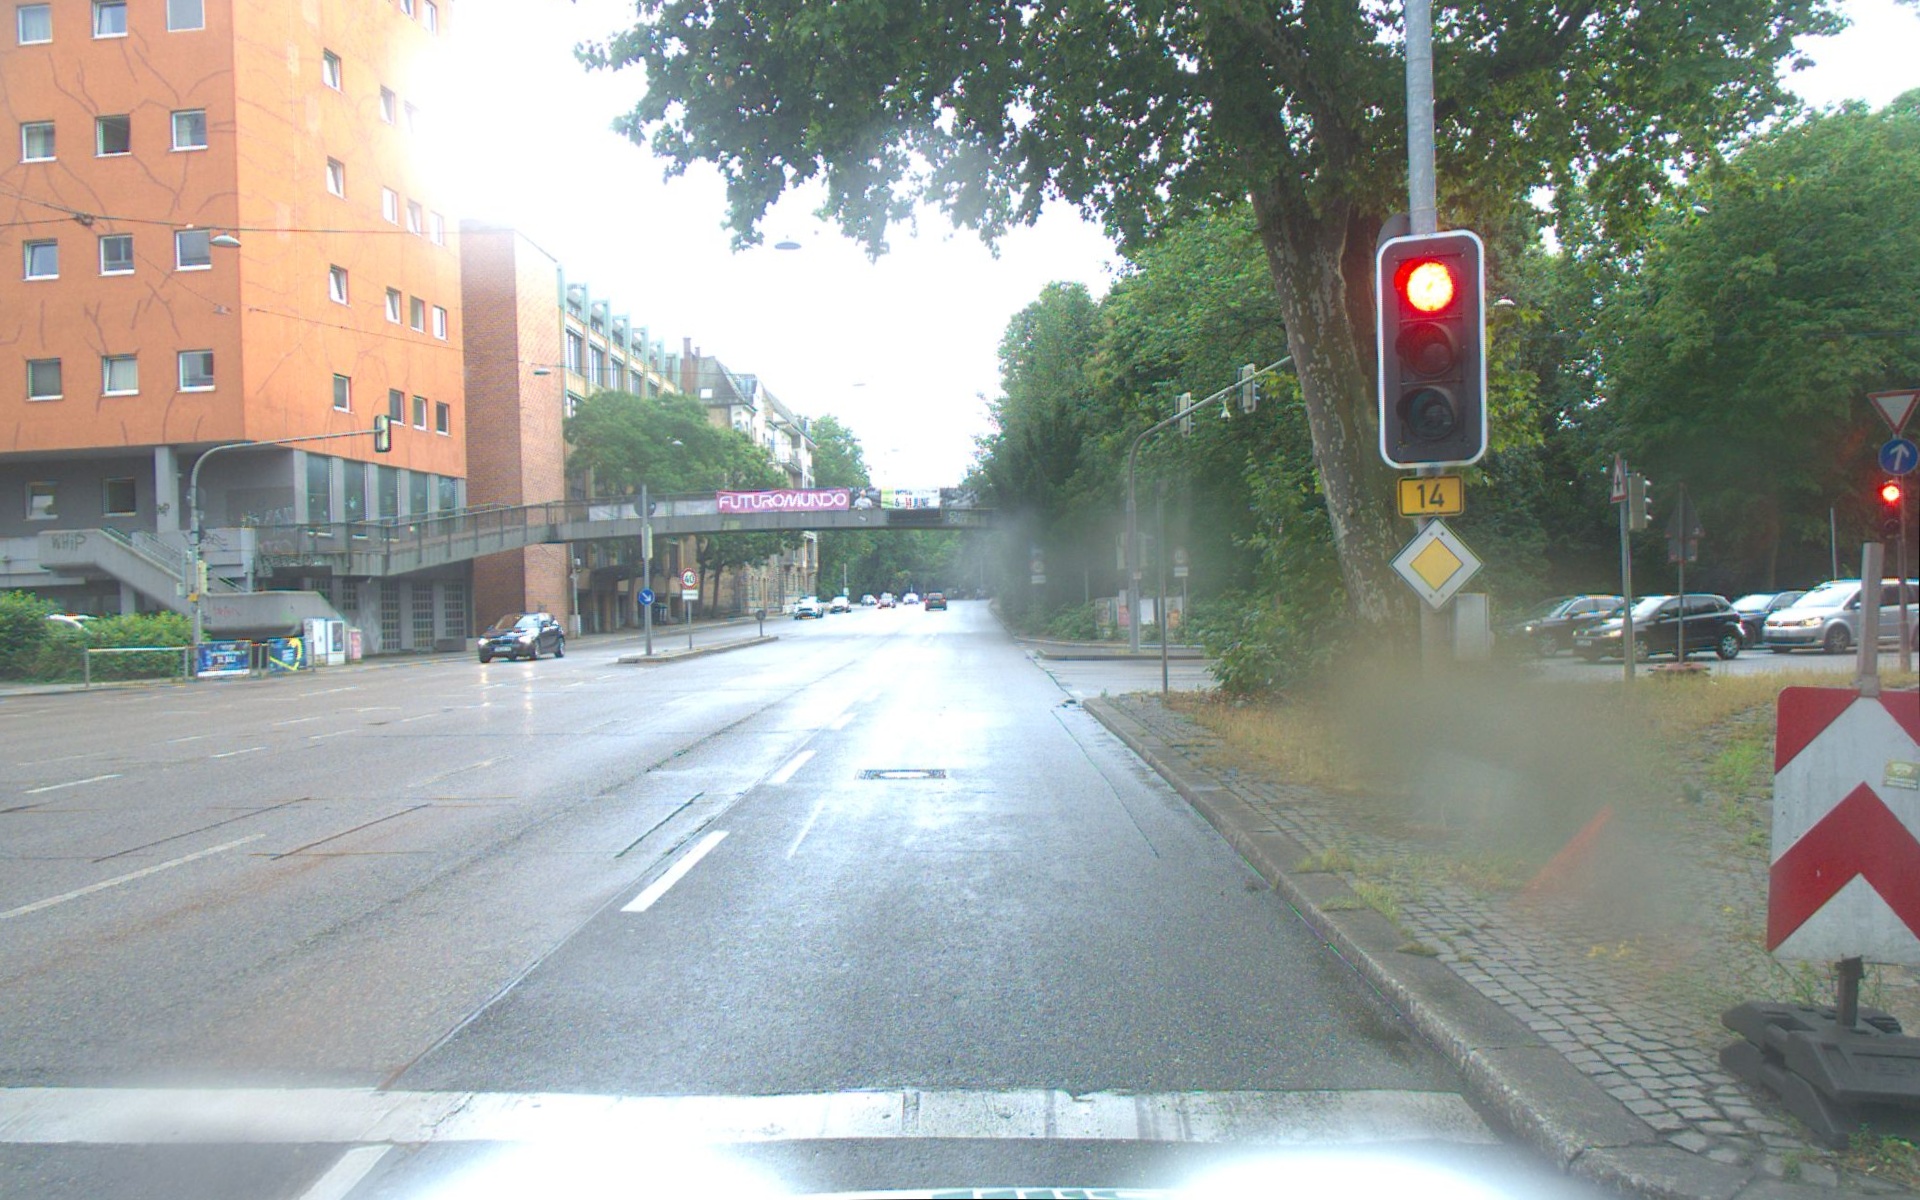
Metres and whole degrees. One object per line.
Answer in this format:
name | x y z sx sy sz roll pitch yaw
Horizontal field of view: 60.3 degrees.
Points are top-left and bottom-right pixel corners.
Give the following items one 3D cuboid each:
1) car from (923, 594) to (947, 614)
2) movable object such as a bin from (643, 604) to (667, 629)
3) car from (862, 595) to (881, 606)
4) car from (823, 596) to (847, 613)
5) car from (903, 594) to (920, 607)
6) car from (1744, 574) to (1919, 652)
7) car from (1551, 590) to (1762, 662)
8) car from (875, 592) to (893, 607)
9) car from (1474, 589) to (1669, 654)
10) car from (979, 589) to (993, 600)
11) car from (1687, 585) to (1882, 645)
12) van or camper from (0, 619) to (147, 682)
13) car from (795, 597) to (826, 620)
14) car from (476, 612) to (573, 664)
car | -2.133 0.336 139.778 1.964 1.672 4.374 -1 0 -2
movable object such as a bin | -19.687 1.068 106.812 1.256 1.545 1.273 -1 0 1
car | -13.203 0.111 247.316 1.581 1.525 3.681 -2 0 -25
car | -11.420 0.435 150.998 1.673 1.490 4.042 -2 0 2
car | -5.884 0.086 202.149 1.793 1.418 4.405 -3 0 1
car | 20.659 0.308 38.531 4.129 1.709 1.898 1 0 -17
car | 15.374 0.575 36.522 4.119 1.486 1.785 1 0 -17
car | -7.726 -0.004 168.538 1.648 1.461 3.862 -2 0 0
car | 14.881 0.522 40.278 4.131 1.466 1.941 1 0 -17
car | 3.411 -0.708 216.972 1.804 1.478 3.777 1 0 2
car | 20.901 0.385 41.955 4.361 1.427 1.821 1 0 -17
van or camper | -25.871 1.447 47.669 3.902 1.656 1.915 -1 0 5
car | -11.335 0.654 125.702 1.850 1.638 4.457 -1 0 2
car | -13.292 1.141 50.719 1.650 1.444 4.216 -2 -1 3
